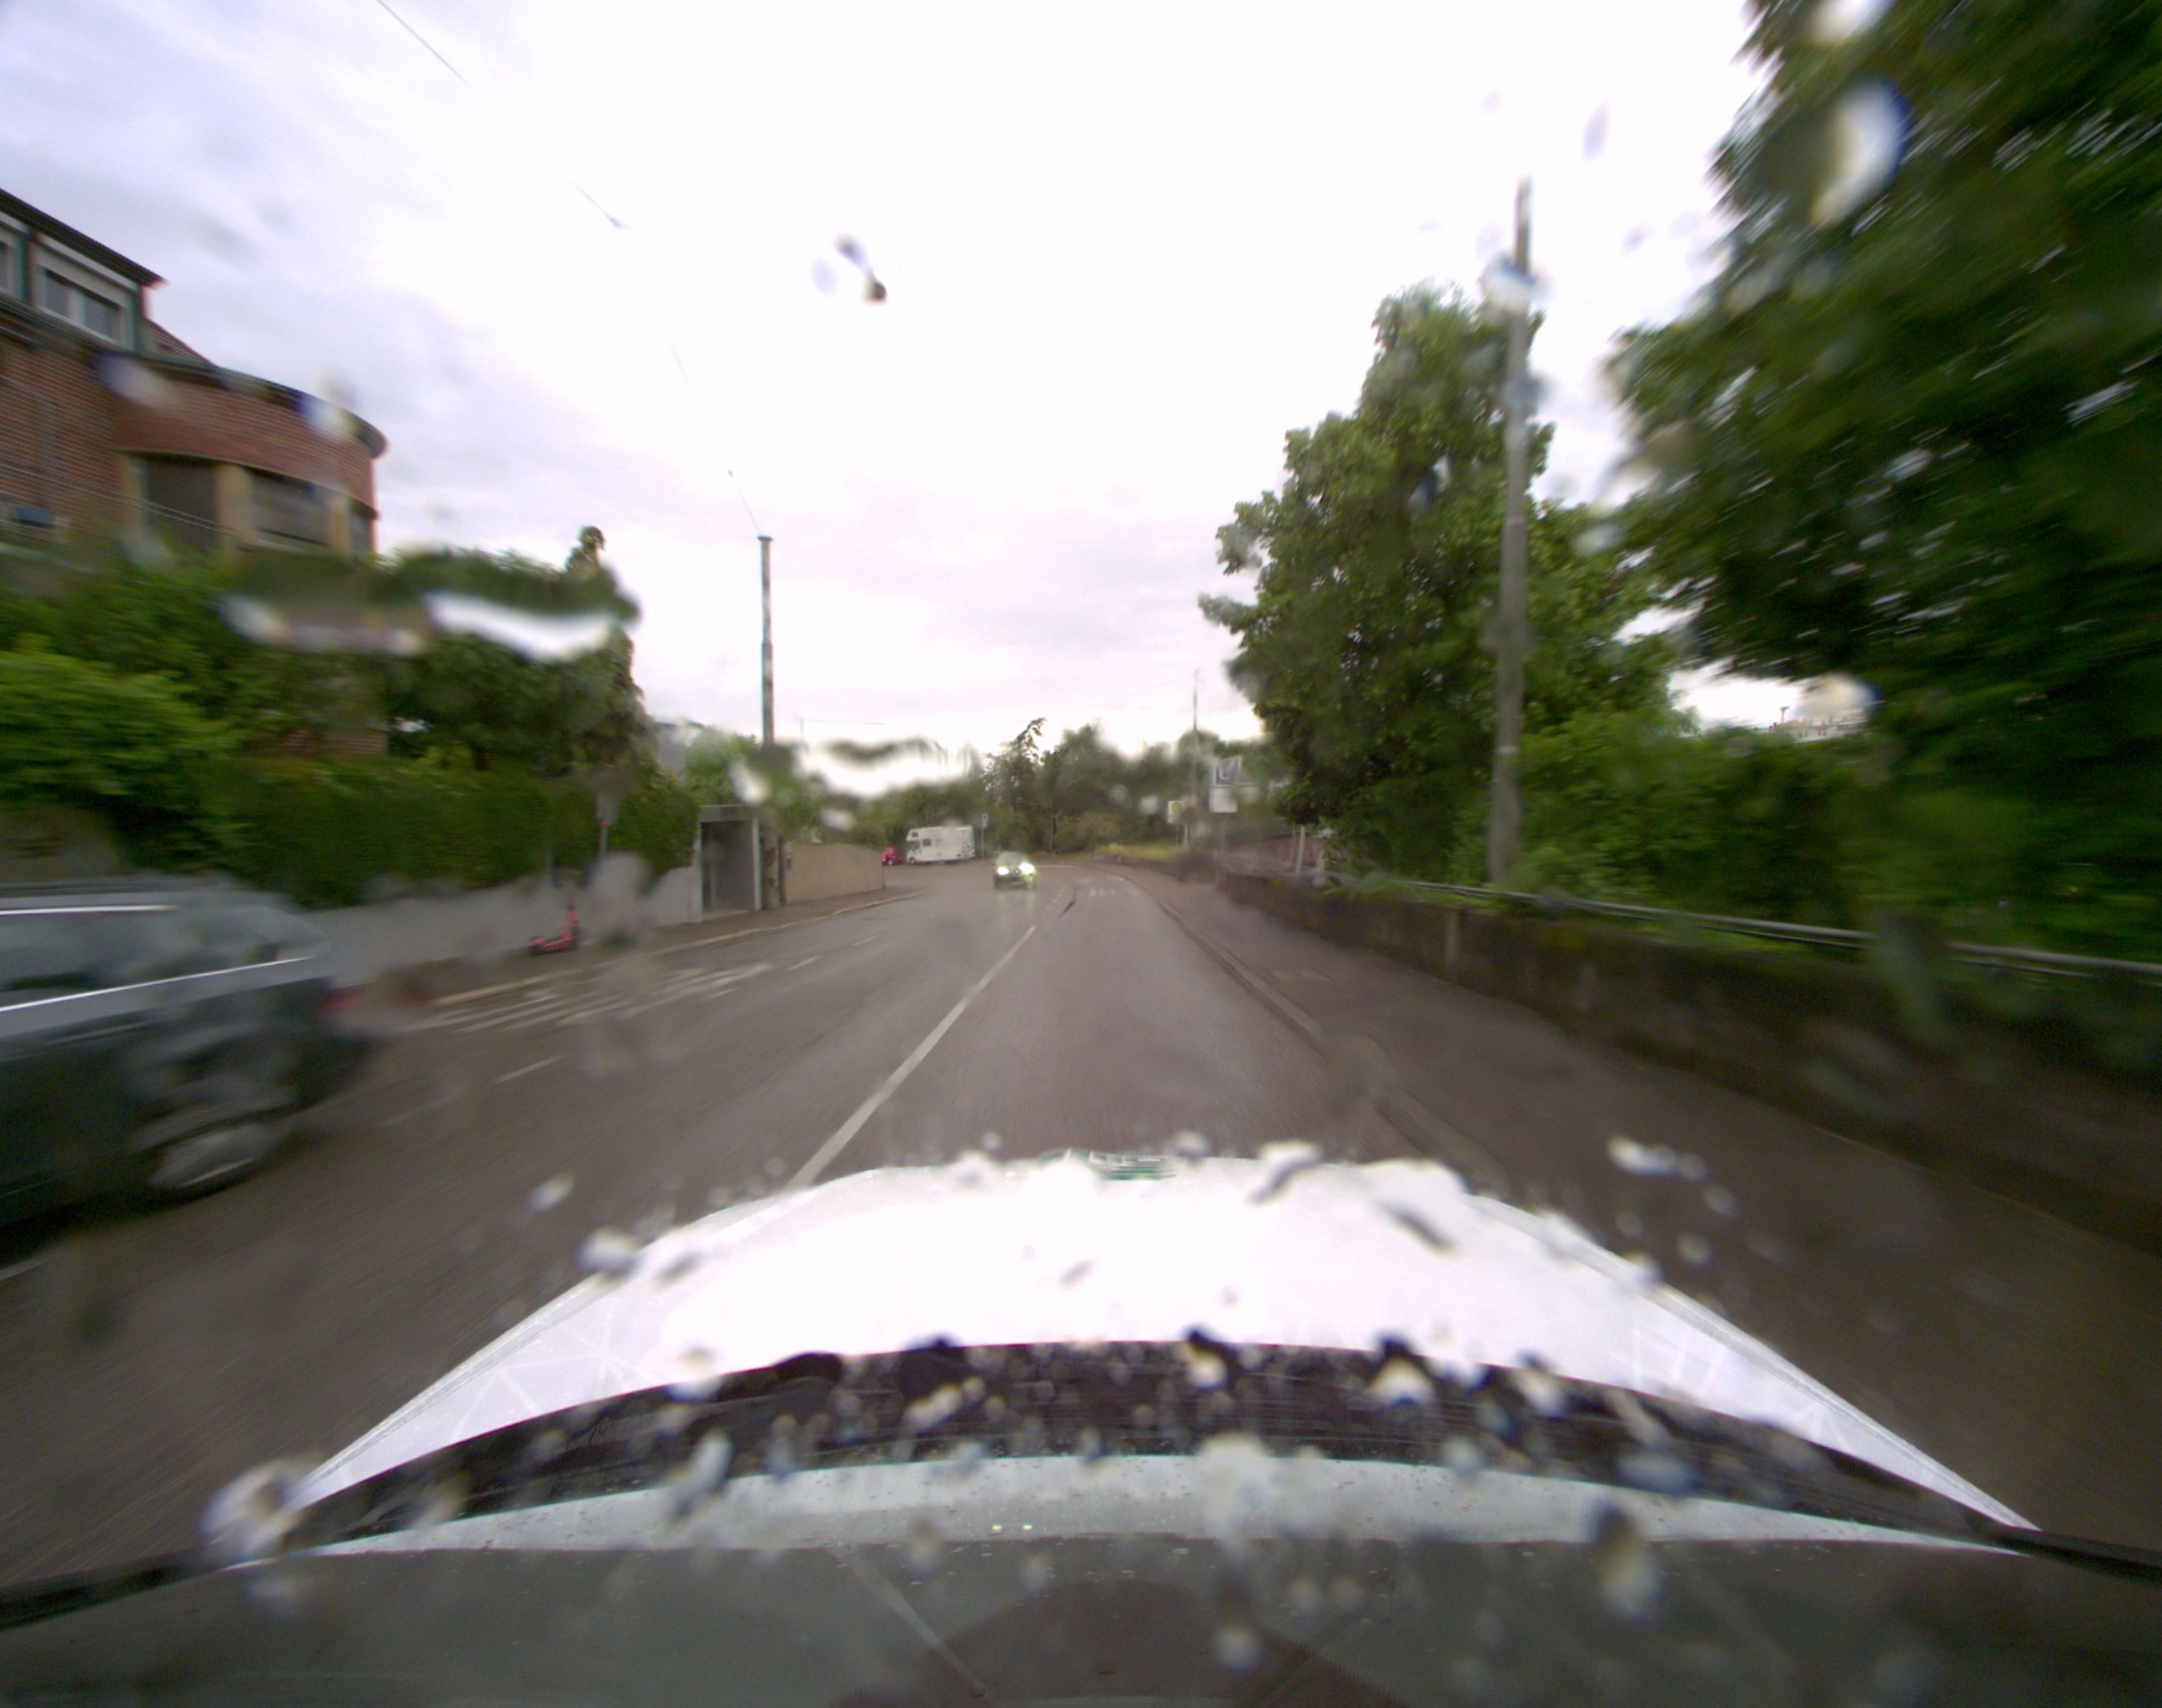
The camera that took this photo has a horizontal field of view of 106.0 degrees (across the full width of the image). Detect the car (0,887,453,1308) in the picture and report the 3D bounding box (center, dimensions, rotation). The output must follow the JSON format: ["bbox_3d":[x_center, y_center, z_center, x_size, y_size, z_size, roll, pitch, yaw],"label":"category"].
[{"bbox_3d":[-4.902,0.986,2.756,1.730,1.450,4.620,-2,1,3],"label":"car"}]

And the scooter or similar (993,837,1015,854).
[{"bbox_3d":[-6.233,-0.689,65.913,1.687,1.282,0.455,-2,3,33],"label":"scooter or similar"}]

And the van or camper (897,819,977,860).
[{"bbox_3d":[-11.748,-1.187,66.320,6.200,2.942,2.414,-1,6,32],"label":"van or camper"}]

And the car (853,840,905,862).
[{"bbox_3d":[-17.019,-0.252,68.808,3.768,1.460,1.653,-3,6,13],"label":"car"}]

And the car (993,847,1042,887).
[{"bbox_3d":[-2.840,0.509,35.474,1.767,1.520,3.963,-2,1,-9],"label":"car"}]

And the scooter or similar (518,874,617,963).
[{"bbox_3d":[-7.910,0.957,12.617,0.520,1.203,1.436,-3,1,2],"label":"scooter or similar"}]
